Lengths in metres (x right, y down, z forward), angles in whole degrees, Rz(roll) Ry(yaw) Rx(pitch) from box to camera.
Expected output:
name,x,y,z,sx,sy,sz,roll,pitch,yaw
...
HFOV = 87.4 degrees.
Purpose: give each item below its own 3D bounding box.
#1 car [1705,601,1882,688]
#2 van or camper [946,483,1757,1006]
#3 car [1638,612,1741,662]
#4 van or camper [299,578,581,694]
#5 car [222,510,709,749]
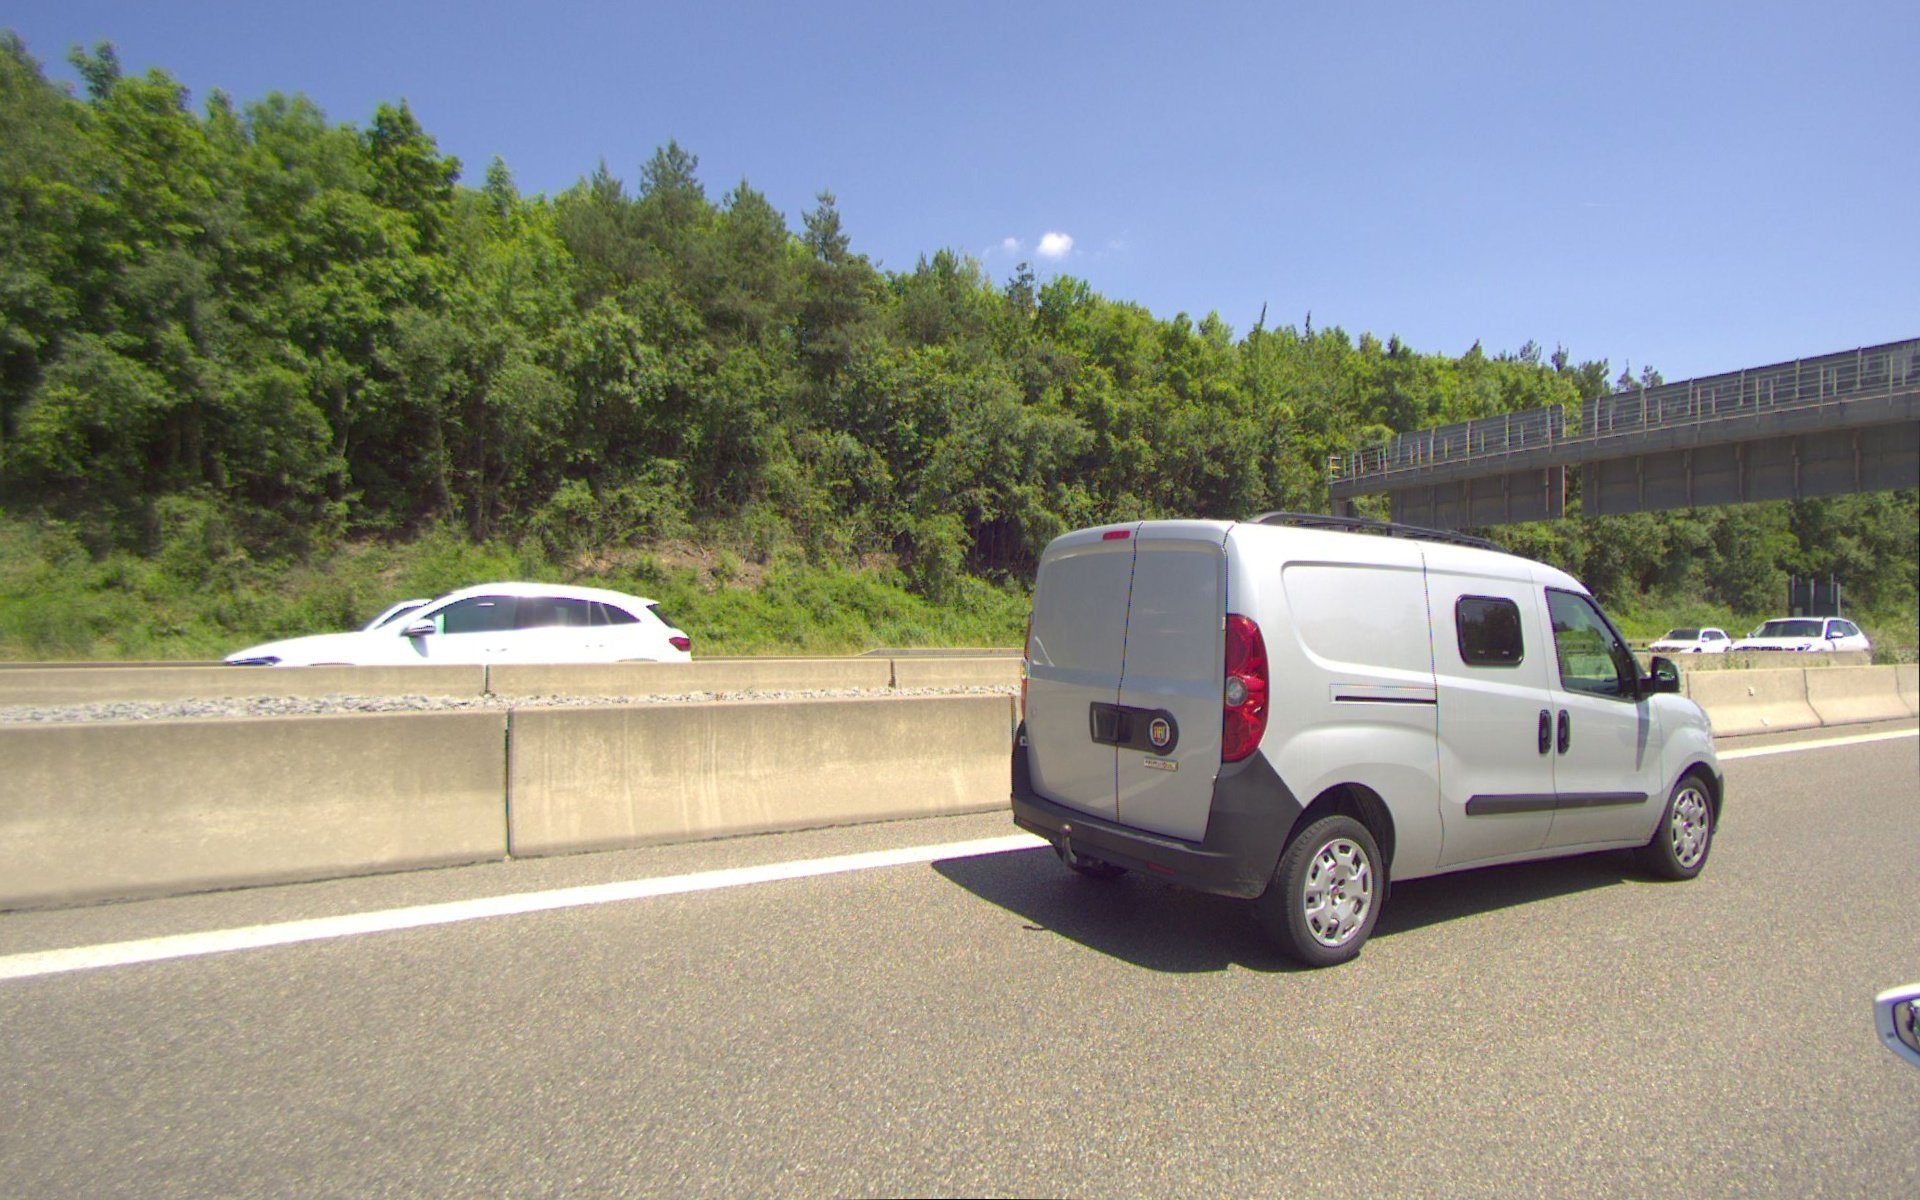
name,x,y,z,sx,sy,sz,roll,pitch,yaw
car,21.185,1.128,25.506,4.294,2.040,1.985,3,-1,-28
van or camper,2.333,0.559,5.620,4.508,1.905,1.844,1,0,-31
car,32.428,1.663,44.622,4.313,2.040,2.113,3,-1,-30
van or camper,-10.051,0.728,19.666,4.625,2.040,1.984,3,-1,-30
car,-4.997,0.332,10.526,4.146,2.040,1.983,3,-1,-31
